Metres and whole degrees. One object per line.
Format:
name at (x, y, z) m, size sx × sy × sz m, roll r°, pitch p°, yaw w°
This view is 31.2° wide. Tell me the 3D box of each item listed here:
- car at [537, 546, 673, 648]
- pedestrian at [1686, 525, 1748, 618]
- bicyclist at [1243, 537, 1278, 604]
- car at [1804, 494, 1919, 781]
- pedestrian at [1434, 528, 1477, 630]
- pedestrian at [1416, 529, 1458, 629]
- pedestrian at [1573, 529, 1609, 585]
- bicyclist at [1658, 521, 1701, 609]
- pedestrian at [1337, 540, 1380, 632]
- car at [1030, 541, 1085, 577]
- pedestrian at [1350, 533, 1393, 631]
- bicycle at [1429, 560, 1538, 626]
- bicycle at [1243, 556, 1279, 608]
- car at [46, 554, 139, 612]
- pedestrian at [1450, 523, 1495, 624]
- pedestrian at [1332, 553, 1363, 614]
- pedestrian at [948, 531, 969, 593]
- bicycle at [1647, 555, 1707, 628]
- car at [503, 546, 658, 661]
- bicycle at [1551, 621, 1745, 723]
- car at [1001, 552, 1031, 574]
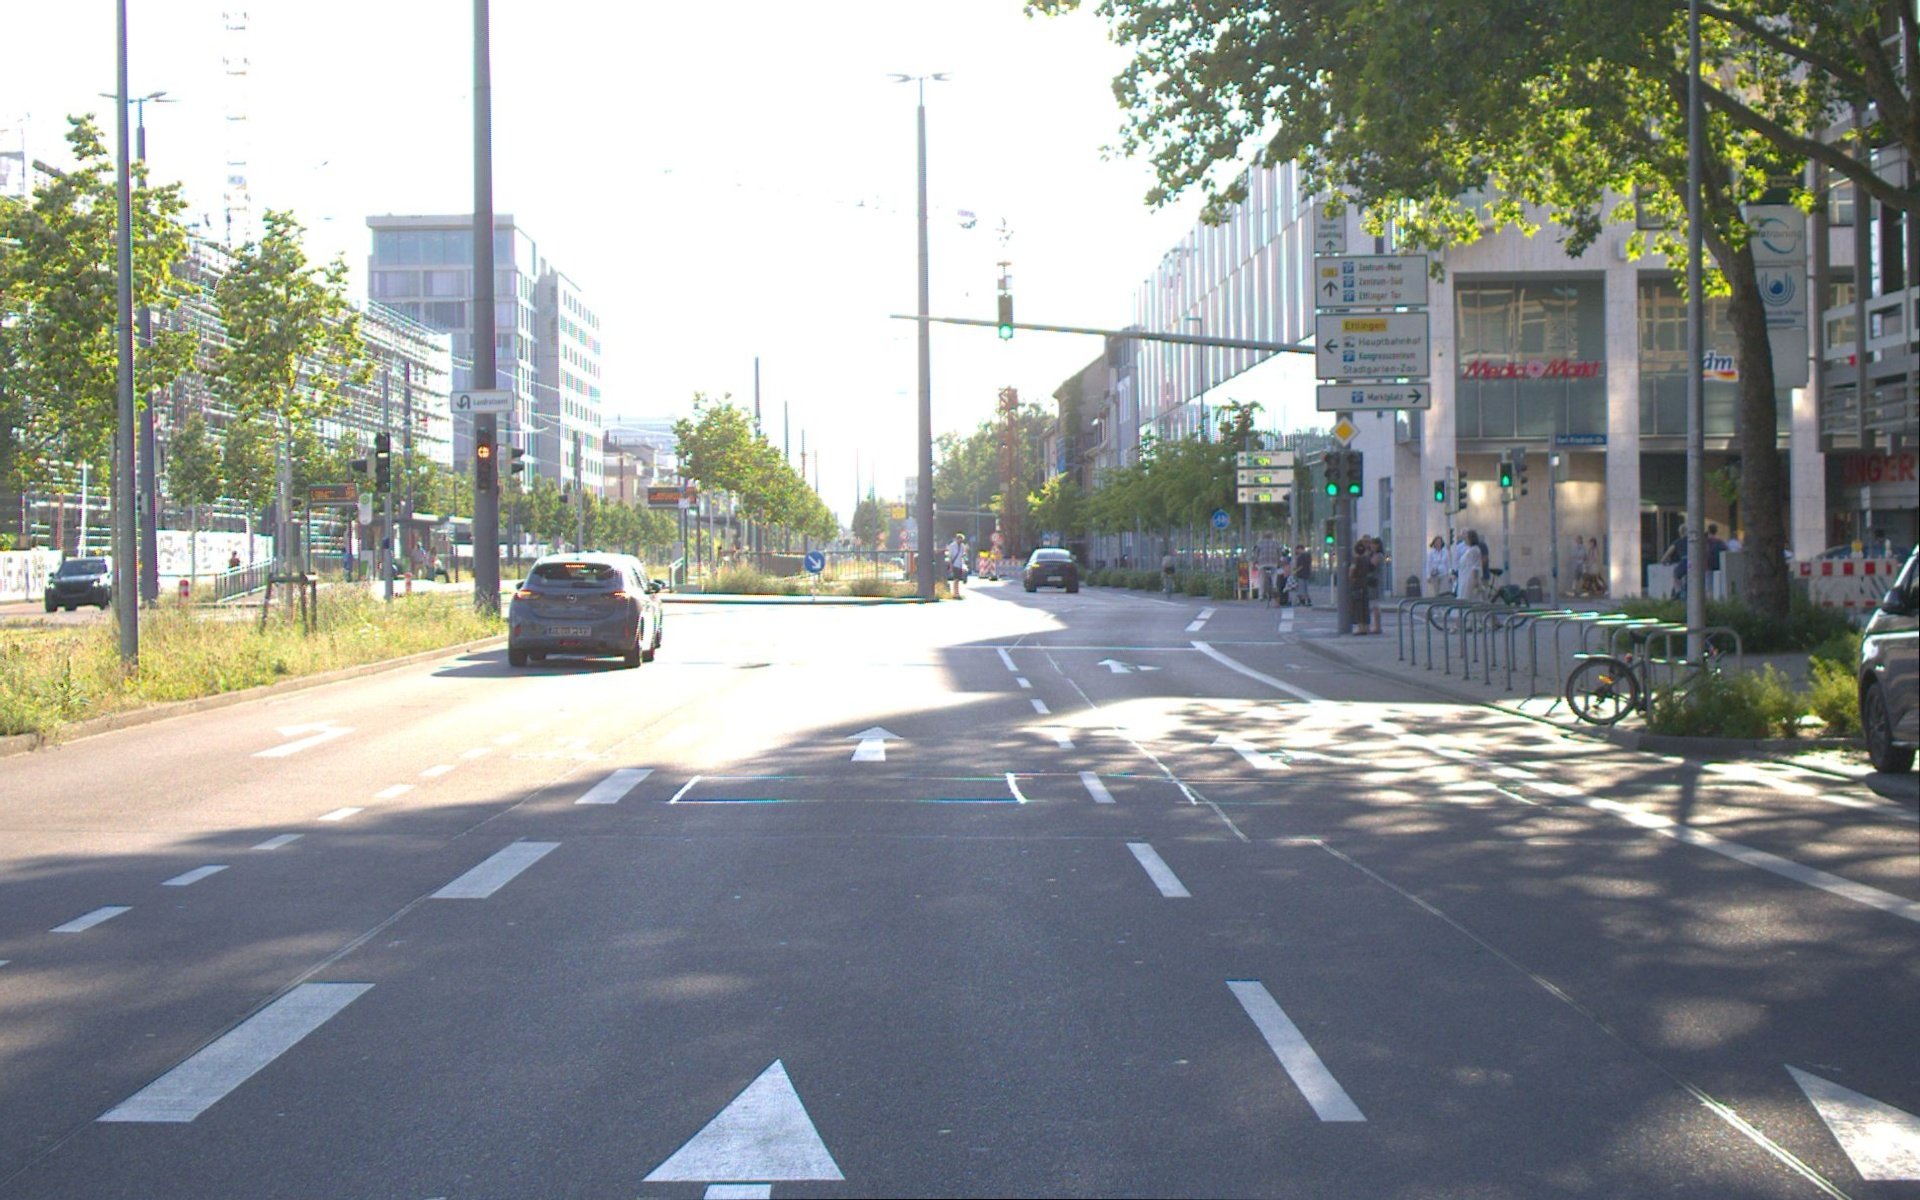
car at (-5.243, -0.074, 51.149) m, size 1.703 × 1.423 × 3.926 m, roll 0°, pitch 1°, yaw -2°
pedestrian at (14.017, -0.533, 63.688) m, size 0.909 × 1.697 × 1.113 m, roll 0°, pitch 1°, yaw 0°
bicyclist at (7.162, -0.711, 81.911) m, size 0.800 × 1.596 × 0.785 m, roll 0°, pitch 1°, yaw 4°
car at (7.438, 0.215, 23.623) m, size 1.829 × 1.964 × 5.322 m, roll -3°, pitch 1°, yaw -1°
pedestrian at (10.191, -0.437, 70.676) m, size 0.766 × 2.053 × 0.797 m, roll -2°, pitch 1°, yaw 6°
pedestrian at (9.943, -0.438, 71.648) m, size 0.766 × 2.053 × 0.797 m, roll -2°, pitch 1°, yaw 6°
pedestrian at (18.499, -1.267, 100.838) m, size 0.870 × 1.580 × 0.824 m, roll -2°, pitch 1°, yaw 3°
bicyclist at (12.413, -0.608, 59.302) m, size 0.578 × 1.517 × 0.749 m, roll 0°, pitch 1°, yaw 0°
pedestrian at (7.015, -0.249, 60.539) m, size 0.634 × 1.602 × 0.570 m, roll -2°, pitch 1°, yaw 0°
car at (3.926, -1.676, 138.943) m, size 1.940 × 1.423 × 3.926 m, roll -1°, pitch 1°, yaw -2°
pedestrian at (7.302, -0.324, 61.079) m, size 0.634 × 1.697 × 0.570 m, roll -2°, pitch 1°, yaw 0°
bicycle at (9.140, -0.128, 60.045) m, size 1.803 × 1.082 × 0.479 m, roll -2°, pitch 1°, yaw 1°
bicycle at (7.167, -0.432, 81.931) m, size 0.800 × 1.200 × 2.264 m, roll 0°, pitch 1°, yaw 3°
car at (-27.457, -0.567, 108.895) m, size 1.993 × 1.770 × 4.000 m, roll 0°, pitch 1°, yaw -1°
pedestrian at (8.786, -0.452, 58.947) m, size 0.634 × 1.697 × 0.570 m, roll -2°, pitch 1°, yaw 0°
pedestrian at (11.095, -0.466, 98.398) m, size 0.817 × 1.728 × 0.790 m, roll 0°, pitch 1°, yaw 3°
pedestrian at (-0.046, -1.075, 97.507) m, size 0.492 × 1.737 × 0.447 m, roll -1°, pitch 1°, yaw -10°
bicycle at (12.419, -0.166, 59.591) m, size 0.592 × 1.227 × 2.154 m, roll 0°, pitch 1°, yaw 0°
car at (-4.966, 0.013, 45.406) m, size 1.776 × 1.423 × 4.001 m, roll 0°, pitch 1°, yaw -3°
bicycle at (6.307, 0.657, 31.580) m, size 1.692 × 0.864 × 0.572 m, roll -2°, pitch 1°, yaw 8°
car at (3.688, -2.455, 226.978) m, size 1.703 × 1.423 × 3.926 m, roll -1°, pitch 1°, yaw -2°
